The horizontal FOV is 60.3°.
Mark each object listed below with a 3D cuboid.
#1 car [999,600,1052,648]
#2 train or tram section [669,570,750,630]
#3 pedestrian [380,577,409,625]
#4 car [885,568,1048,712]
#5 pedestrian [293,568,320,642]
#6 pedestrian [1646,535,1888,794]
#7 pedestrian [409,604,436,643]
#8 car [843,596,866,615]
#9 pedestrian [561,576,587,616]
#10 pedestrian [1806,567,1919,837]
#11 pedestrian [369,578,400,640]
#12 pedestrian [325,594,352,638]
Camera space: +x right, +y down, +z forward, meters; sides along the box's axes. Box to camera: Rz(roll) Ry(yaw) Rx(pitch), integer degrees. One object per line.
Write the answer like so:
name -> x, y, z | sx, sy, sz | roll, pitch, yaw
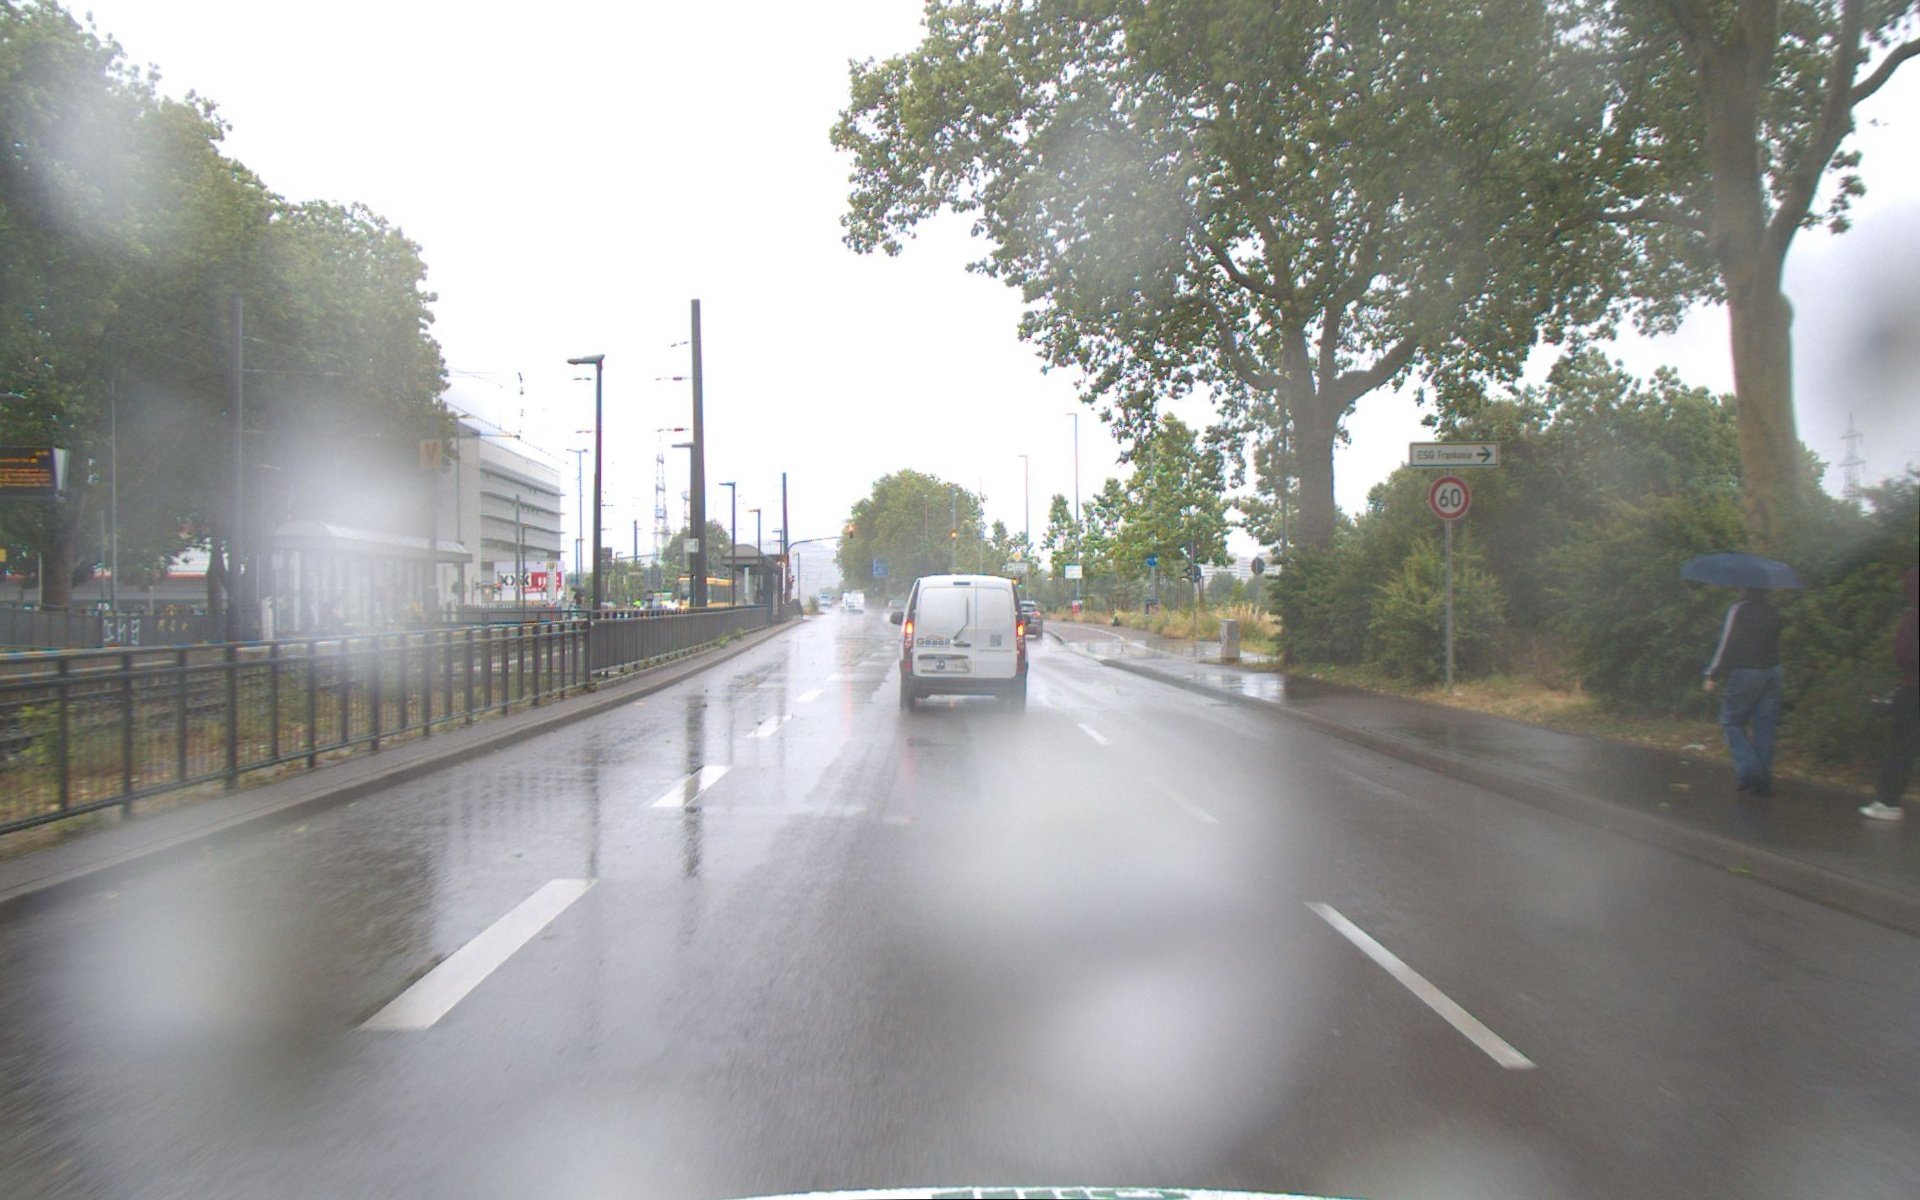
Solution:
car -> 2.547, 0.915, 65.154 | 1.952, 1.780, 4.000 | 1, 0, 1
train or tram section -> -19.413, 0.099, 130.248 | 3.695, 4.107, 27.073 | 1, 0, -3
pedestrian -> -19.026, 0.047, 55.656 | 0.815, 1.589, 0.667 | 2, -1, -28
car -> -0.012, 0.534, 23.547 | 1.985, 1.806, 4.270 | 2, 0, -4
pedestrian -> -18.233, 0.142, 46.146 | 0.483, 2.049, 0.582 | 1, -1, -1
pedestrian -> 5.999, 0.464, 12.380 | 1.215, 1.817, 1.147 | 1, -1, -1
pedestrian -> -18.969, 0.823, 58.383 | 0.630, 1.326, 0.814 | 1, -1, 2
car -> -10.108, 0.505, 158.104 | 1.956, 1.780, 3.993 | 2, 0, -8
pedestrian -> -20.327, -0.221, 87.036 | 1.066, 2.049, 1.096 | 1, -1, -2
pedestrian -> 6.199, 0.606, 10.521 | 0.927, 1.617, 1.293 | -1, -1, -1
pedestrian -> -18.356, 0.285, 52.758 | 0.608, 1.967, 0.814 | 1, -1, 2
pedestrian -> -18.255, 0.468, 48.556 | 0.483, 1.290, 0.664 | 1, -1, 2
